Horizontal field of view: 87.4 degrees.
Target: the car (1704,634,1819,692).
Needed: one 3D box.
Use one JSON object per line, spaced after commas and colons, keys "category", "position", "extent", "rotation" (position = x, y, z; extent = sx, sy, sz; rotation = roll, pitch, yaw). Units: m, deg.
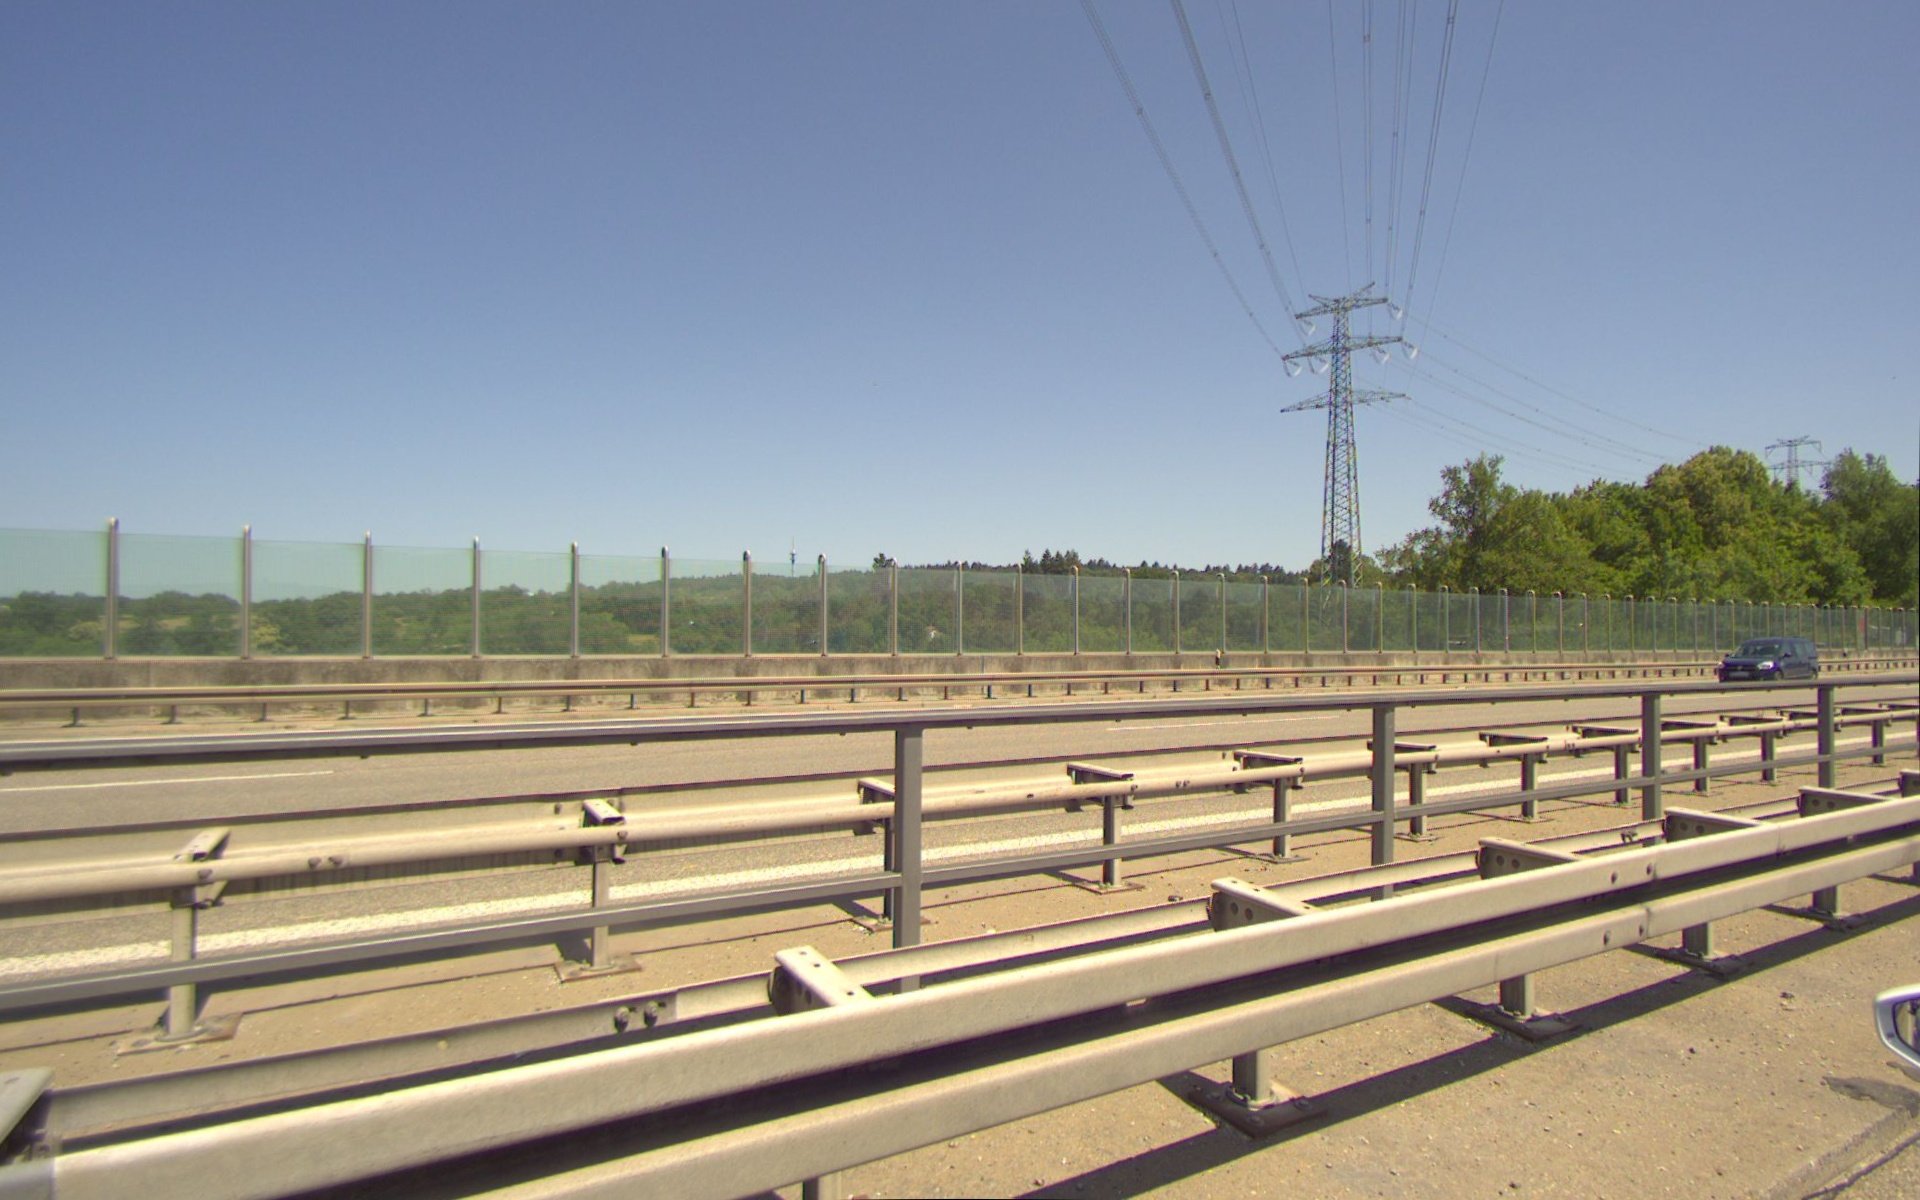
{"category": "car", "position": [28.738, 2.258, 35.985], "extent": [4.253, 1.808, 1.773], "rotation": [4, -1, -31]}
